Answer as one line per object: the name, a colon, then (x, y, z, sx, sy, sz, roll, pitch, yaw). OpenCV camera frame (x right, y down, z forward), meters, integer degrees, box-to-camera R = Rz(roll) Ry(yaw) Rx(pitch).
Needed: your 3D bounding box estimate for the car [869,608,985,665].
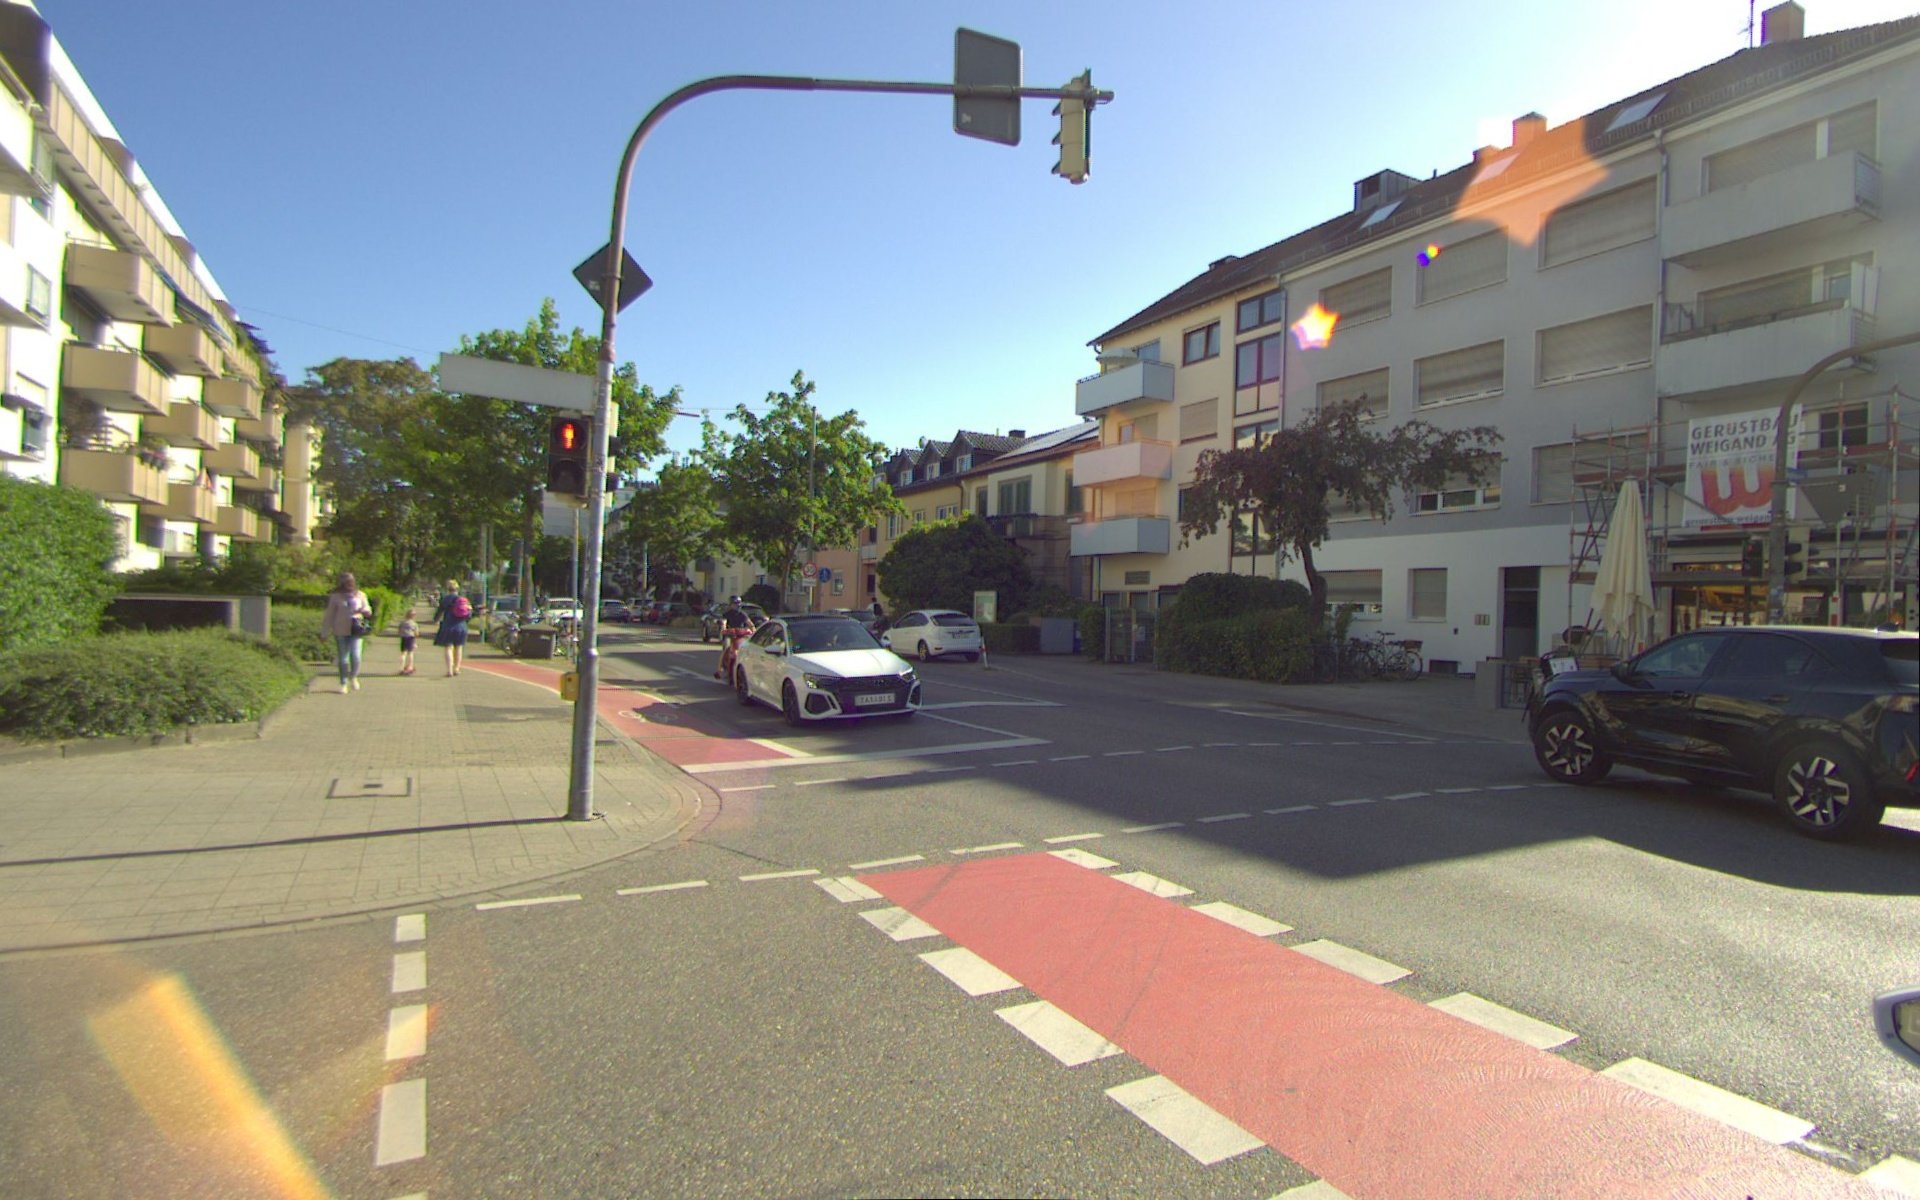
car: (-1.055, 1.022, 29.941, 1.892, 1.539, 3.970, 1, 0, -29)

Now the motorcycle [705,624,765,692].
motorcycle: (-4.192, 1.038, 18.608, 0.739, 1.149, 1.673, 0, 0, -25)

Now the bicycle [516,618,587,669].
bicycle: (-10.356, 1.098, 25.485, 1.549, 1.177, 0.447, 2, 14, -6)

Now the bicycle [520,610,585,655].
bicycle: (-11.448, 0.927, 28.219, 1.549, 1.175, 0.448, 2, -8, -6)

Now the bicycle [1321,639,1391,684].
bicycle: (9.268, 1.429, 23.562, 0.506, 0.952, 1.583, 2, -1, -26)

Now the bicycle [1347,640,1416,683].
bicycle: (10.026, 1.455, 23.948, 0.506, 0.952, 1.583, 2, -1, -26)

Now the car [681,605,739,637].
car: (-12.528, 1.023, 50.233, 1.892, 1.449, 3.970, -1, 0, -29)

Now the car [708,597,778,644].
car: (-8.115, 0.758, 37.266, 1.576, 1.586, 4.062, 3, -2, -26)

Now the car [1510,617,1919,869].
car: (6.741, 0.971, 8.460, 1.735, 1.579, 3.997, 2, -1, -5)

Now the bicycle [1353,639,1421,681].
bicycle: (10.455, 1.458, 24.646, 0.506, 0.952, 1.583, 2, -1, -26)

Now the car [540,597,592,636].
car: (-17.292, 0.682, 43.981, 1.791, 1.579, 4.220, 0, 0, -27)

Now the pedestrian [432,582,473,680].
pedestrian: (-9.115, 0.545, 18.033, 0.568, 1.705, 0.961, 2, 0, -30)

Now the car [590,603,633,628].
car: (-22.437, 0.980, 64.593, 1.821, 1.452, 4.143, 2, -1, -30)

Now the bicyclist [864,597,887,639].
bicyclist: (-3.200, 0.669, 38.032, 0.548, 1.569, 0.808, 2, 0, -29)

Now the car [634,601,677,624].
car: (-19.842, 0.797, 65.399, 1.892, 1.449, 3.970, -1, 0, -29)

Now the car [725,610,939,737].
car: (-2.073, 0.948, 15.023, 1.909, 1.455, 4.239, -2, 2, -26)

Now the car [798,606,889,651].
car: (-4.223, 0.971, 35.920, 1.892, 1.449, 3.970, -1, 0, -29)

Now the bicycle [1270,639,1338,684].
bicycle: (7.902, 1.401, 23.145, 0.506, 0.952, 1.583, 2, -1, -26)

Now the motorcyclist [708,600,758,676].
motorcyclist: (-4.205, 0.690, 18.610, 0.747, 1.374, 0.787, 0, 0, -26)

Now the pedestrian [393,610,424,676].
pedestrian: (-9.956, 0.762, 18.127, 0.383, 1.161, 0.526, 2, 0, -37)

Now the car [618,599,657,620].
car: (-22.899, 0.648, 71.256, 1.892, 1.449, 3.970, -1, 0, -29)

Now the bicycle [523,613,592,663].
bicycle: (-10.387, 0.980, 25.946, 1.549, 1.177, 0.447, 2, 14, -6)

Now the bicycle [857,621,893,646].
bicycle: (-3.231, 1.273, 38.058, 0.548, 0.844, 2.115, 2, 0, -29)

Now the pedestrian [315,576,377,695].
pedestrian: (-8.621, 0.495, 14.127, 0.688, 1.617, 0.643, 2, 0, -30)

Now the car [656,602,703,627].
car: (-17.194, 0.853, 61.471, 1.892, 1.449, 3.970, -1, 0, -29)

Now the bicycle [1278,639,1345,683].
bicycle: (8.268, 1.420, 23.686, 0.506, 0.952, 1.583, 2, -1, -26)
